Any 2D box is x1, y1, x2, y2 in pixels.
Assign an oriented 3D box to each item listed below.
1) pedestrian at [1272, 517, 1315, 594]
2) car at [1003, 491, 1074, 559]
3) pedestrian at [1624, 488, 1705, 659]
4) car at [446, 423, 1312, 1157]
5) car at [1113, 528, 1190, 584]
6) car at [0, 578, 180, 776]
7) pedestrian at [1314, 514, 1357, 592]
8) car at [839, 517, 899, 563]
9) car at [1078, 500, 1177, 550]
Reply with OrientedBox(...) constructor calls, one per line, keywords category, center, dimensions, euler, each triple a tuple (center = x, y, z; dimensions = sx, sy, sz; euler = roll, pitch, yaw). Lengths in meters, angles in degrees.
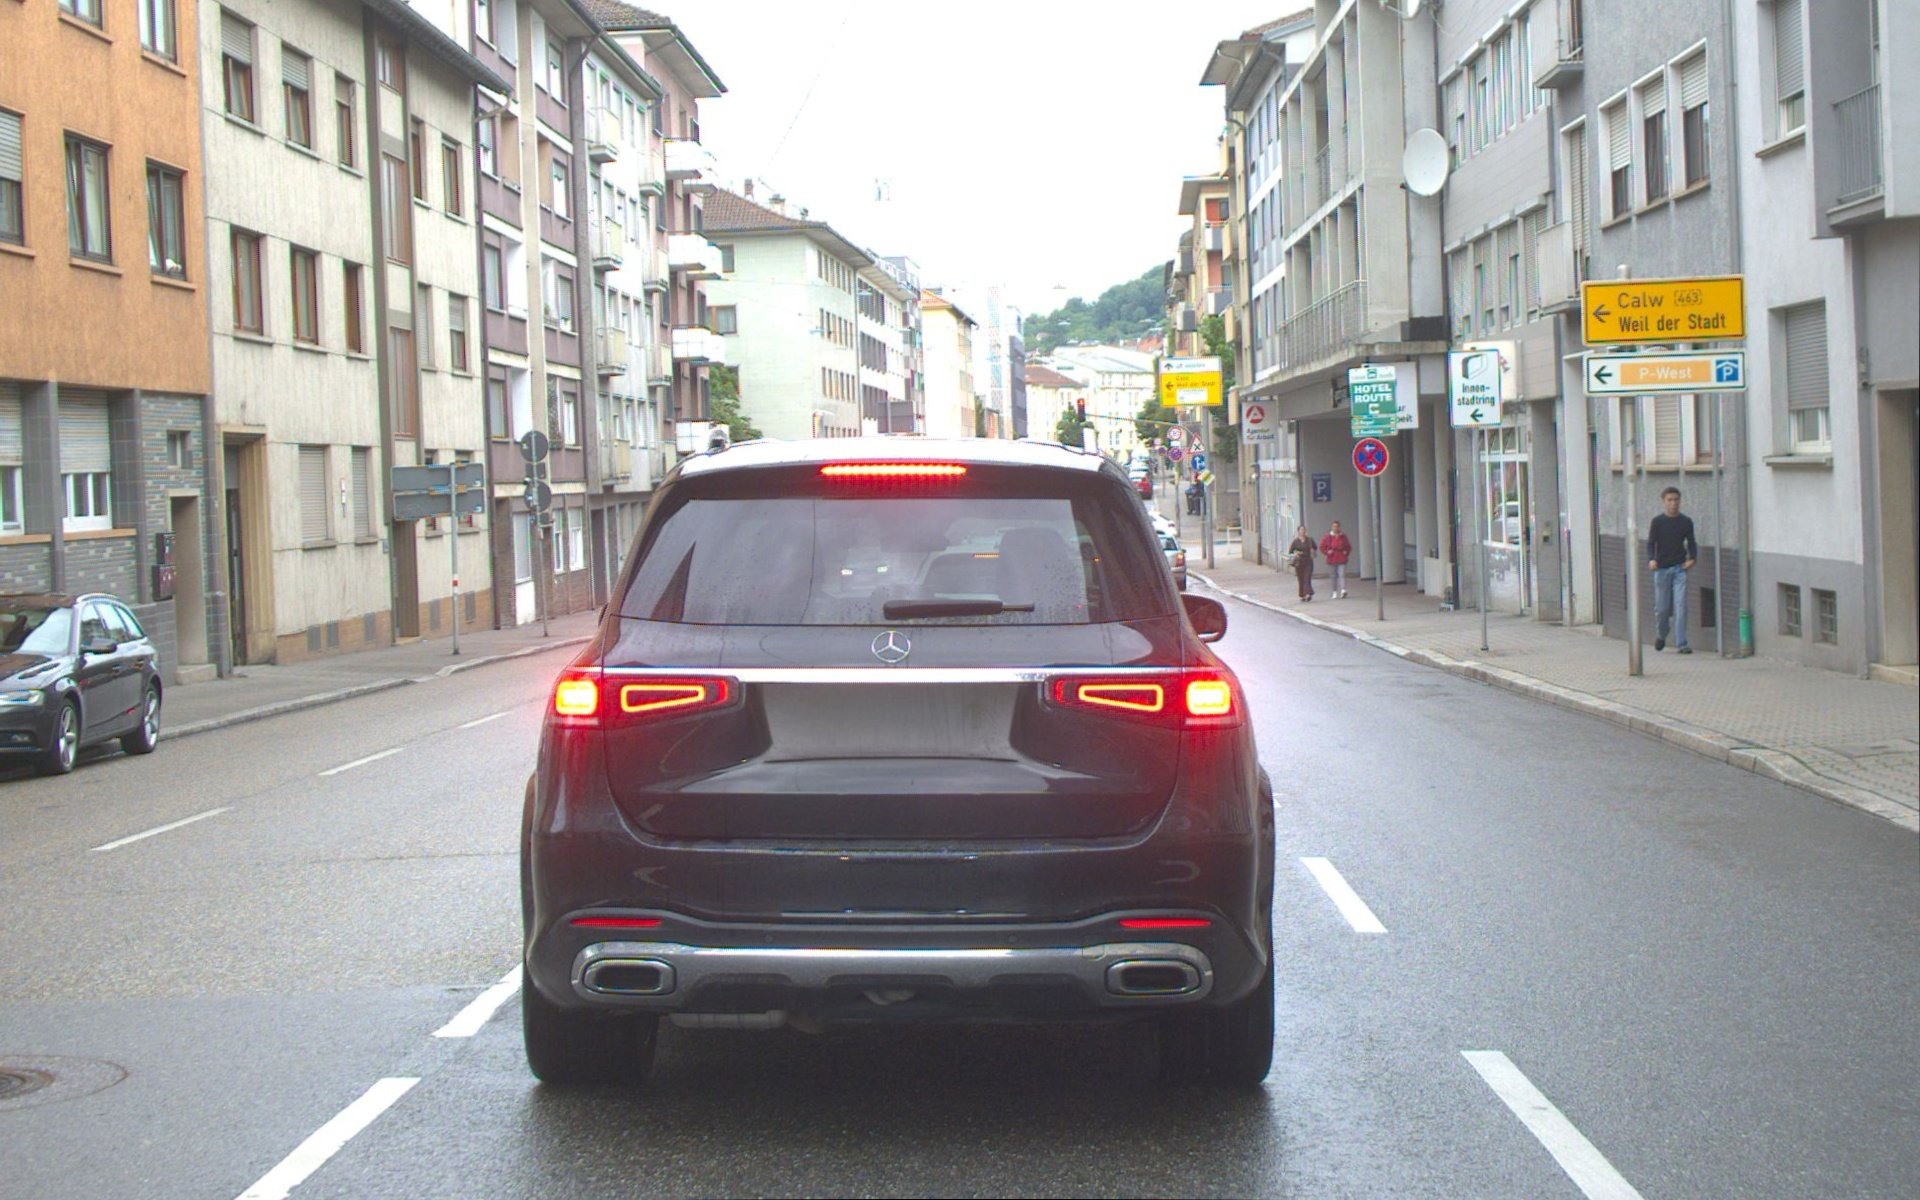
OrientedBox(category="pedestrian", center=(6.771, -0.908, 69.834), dimensions=(0.821, 1.560, 0.899), euler=(0, 2, 4))
OrientedBox(category="car", center=(2.424, -2.295, 104.609), dimensions=(1.994, 2.006, 4.000), euler=(0, 2, 3))
OrientedBox(category="pedestrian", center=(7.390, -0.285, 36.101), dimensions=(0.655, 1.746, 0.741), euler=(-4, 1, 6))
OrientedBox(category="car", center=(-0.194, 0.385, 10.613), dimensions=(2.076, 1.759, 4.611), euler=(-1, 2, 0))
OrientedBox(category="car", center=(4.975, -1.163, 89.689), dimensions=(1.734, 1.383, 4.583), euler=(-1, 2, 0))
OrientedBox(category="car", center=(-8.101, 0.597, 29.302), dimensions=(1.891, 1.453, 4.550), euler=(-1, 2, -1))
OrientedBox(category="pedestrian", center=(7.623, -0.964, 69.776), dimensions=(0.821, 1.560, 0.899), euler=(0, 2, 4))
OrientedBox(category="car", center=(-3.018, -2.009, 114.610), dimensions=(1.891, 1.453, 4.550), euler=(-1, 2, -1))
OrientedBox(category="car", center=(6.840, -3.055, 140.040), dimensions=(3.987, 2.006, 2.000), euler=(0, 2, 4))
